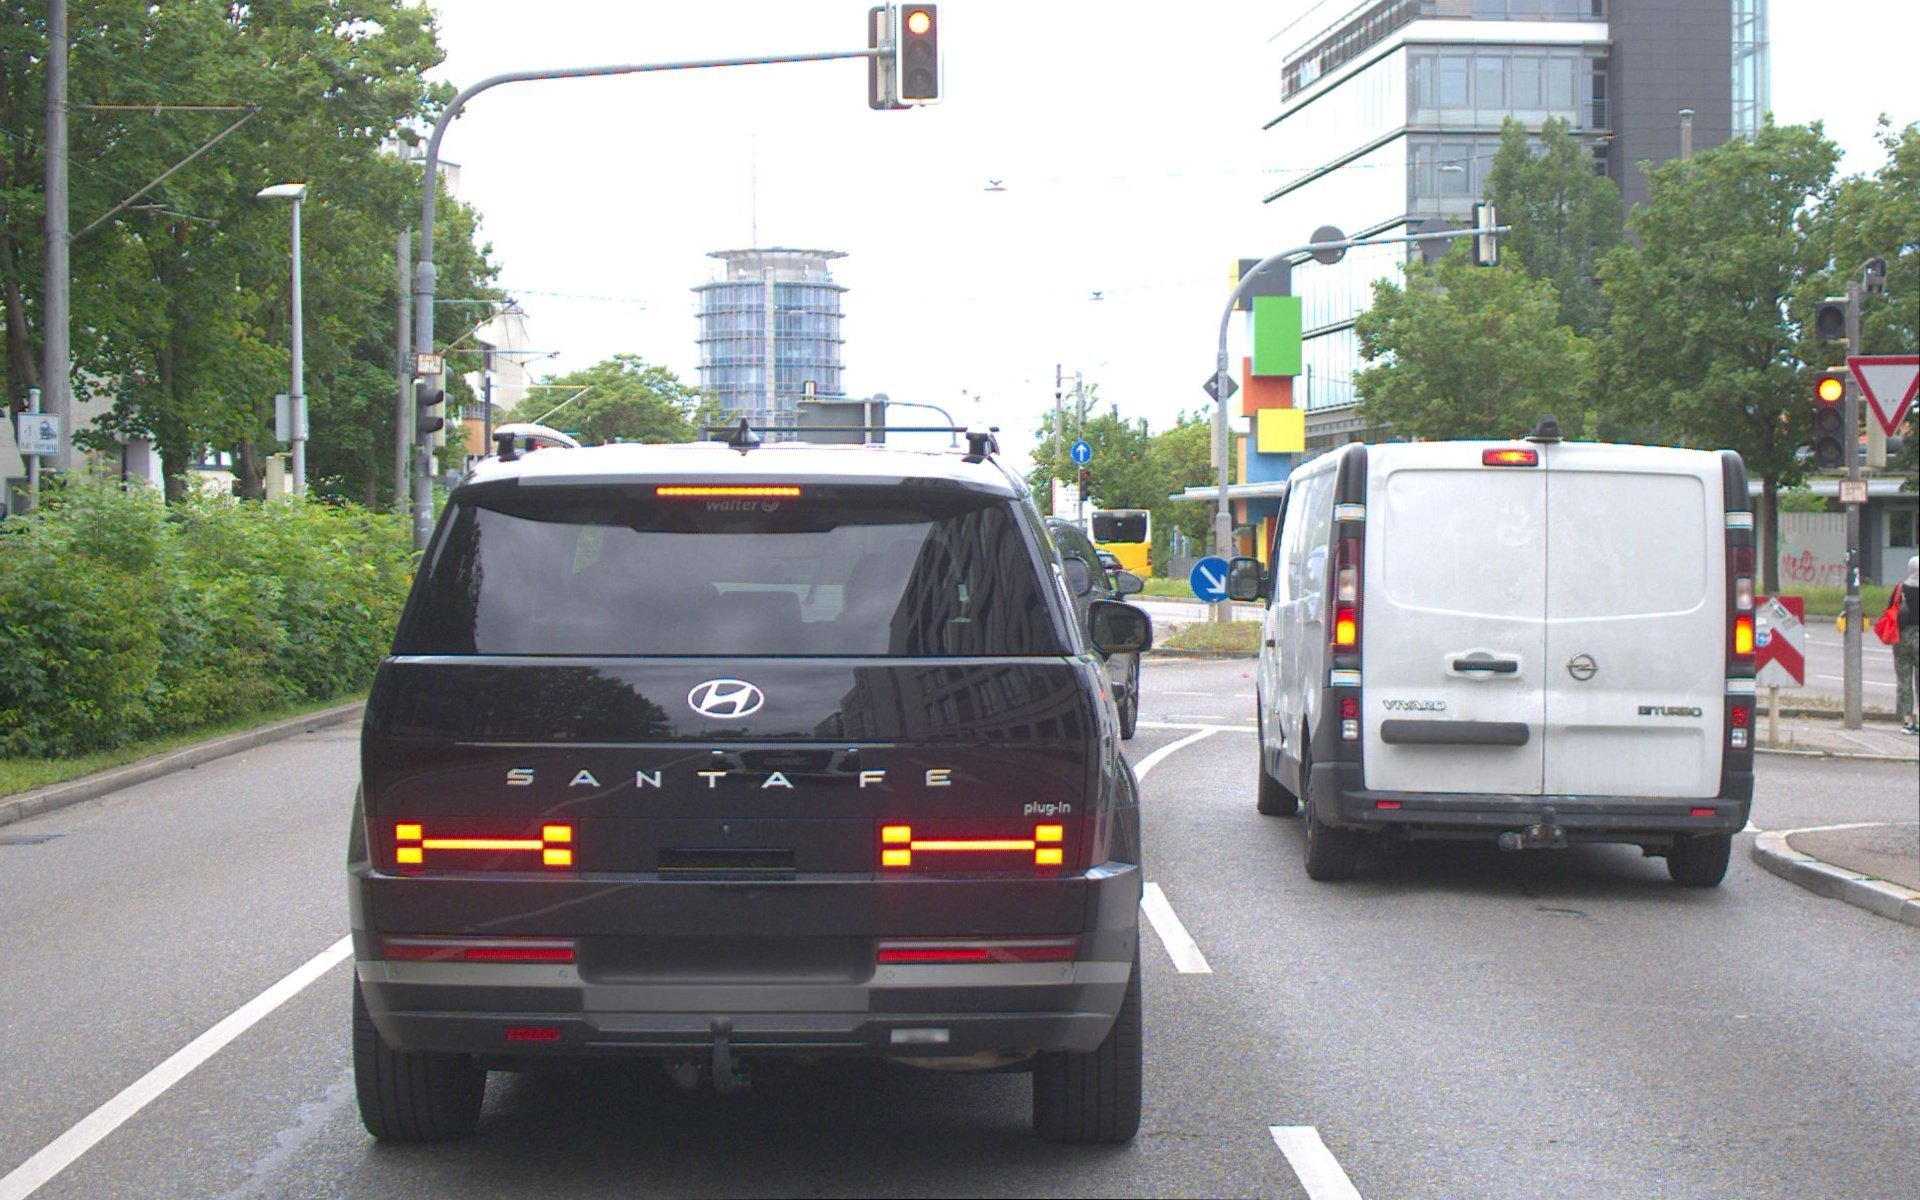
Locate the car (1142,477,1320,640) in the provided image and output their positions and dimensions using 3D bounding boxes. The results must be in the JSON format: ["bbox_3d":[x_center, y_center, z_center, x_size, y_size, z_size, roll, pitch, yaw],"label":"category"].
[{"bbox_3d":[3.458,-0.533,44.570,1.993,2.007,4.000,1,1,0],"label":"car"}]

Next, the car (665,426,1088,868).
[{"bbox_3d":[-0.405,0.173,17.515,1.915,1.996,3.880,0,1,-1],"label":"car"}]

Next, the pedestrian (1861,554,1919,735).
[{"bbox_3d":[8.559,0.394,30.754,0.738,1.579,0.573,1,2,-40],"label":"pedestrian"}]

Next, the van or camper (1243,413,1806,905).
[{"bbox_3d":[2.515,0.197,16.486,1.993,2.007,4.652,1,1,1],"label":"van or camper"}]

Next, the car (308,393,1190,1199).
[{"bbox_3d":[-0.470,0.400,9.250,1.869,1.754,3.880,0,1,-1],"label":"car"}]

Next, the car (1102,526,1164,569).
[{"bbox_3d":[6.826,-2.064,135.897,1.993,1.678,4.001,1,1,-3],"label":"car"}]

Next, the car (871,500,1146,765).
[{"bbox_3d":[0.351,0.188,24.582,1.776,1.711,4.338,1,1,1],"label":"car"}]
